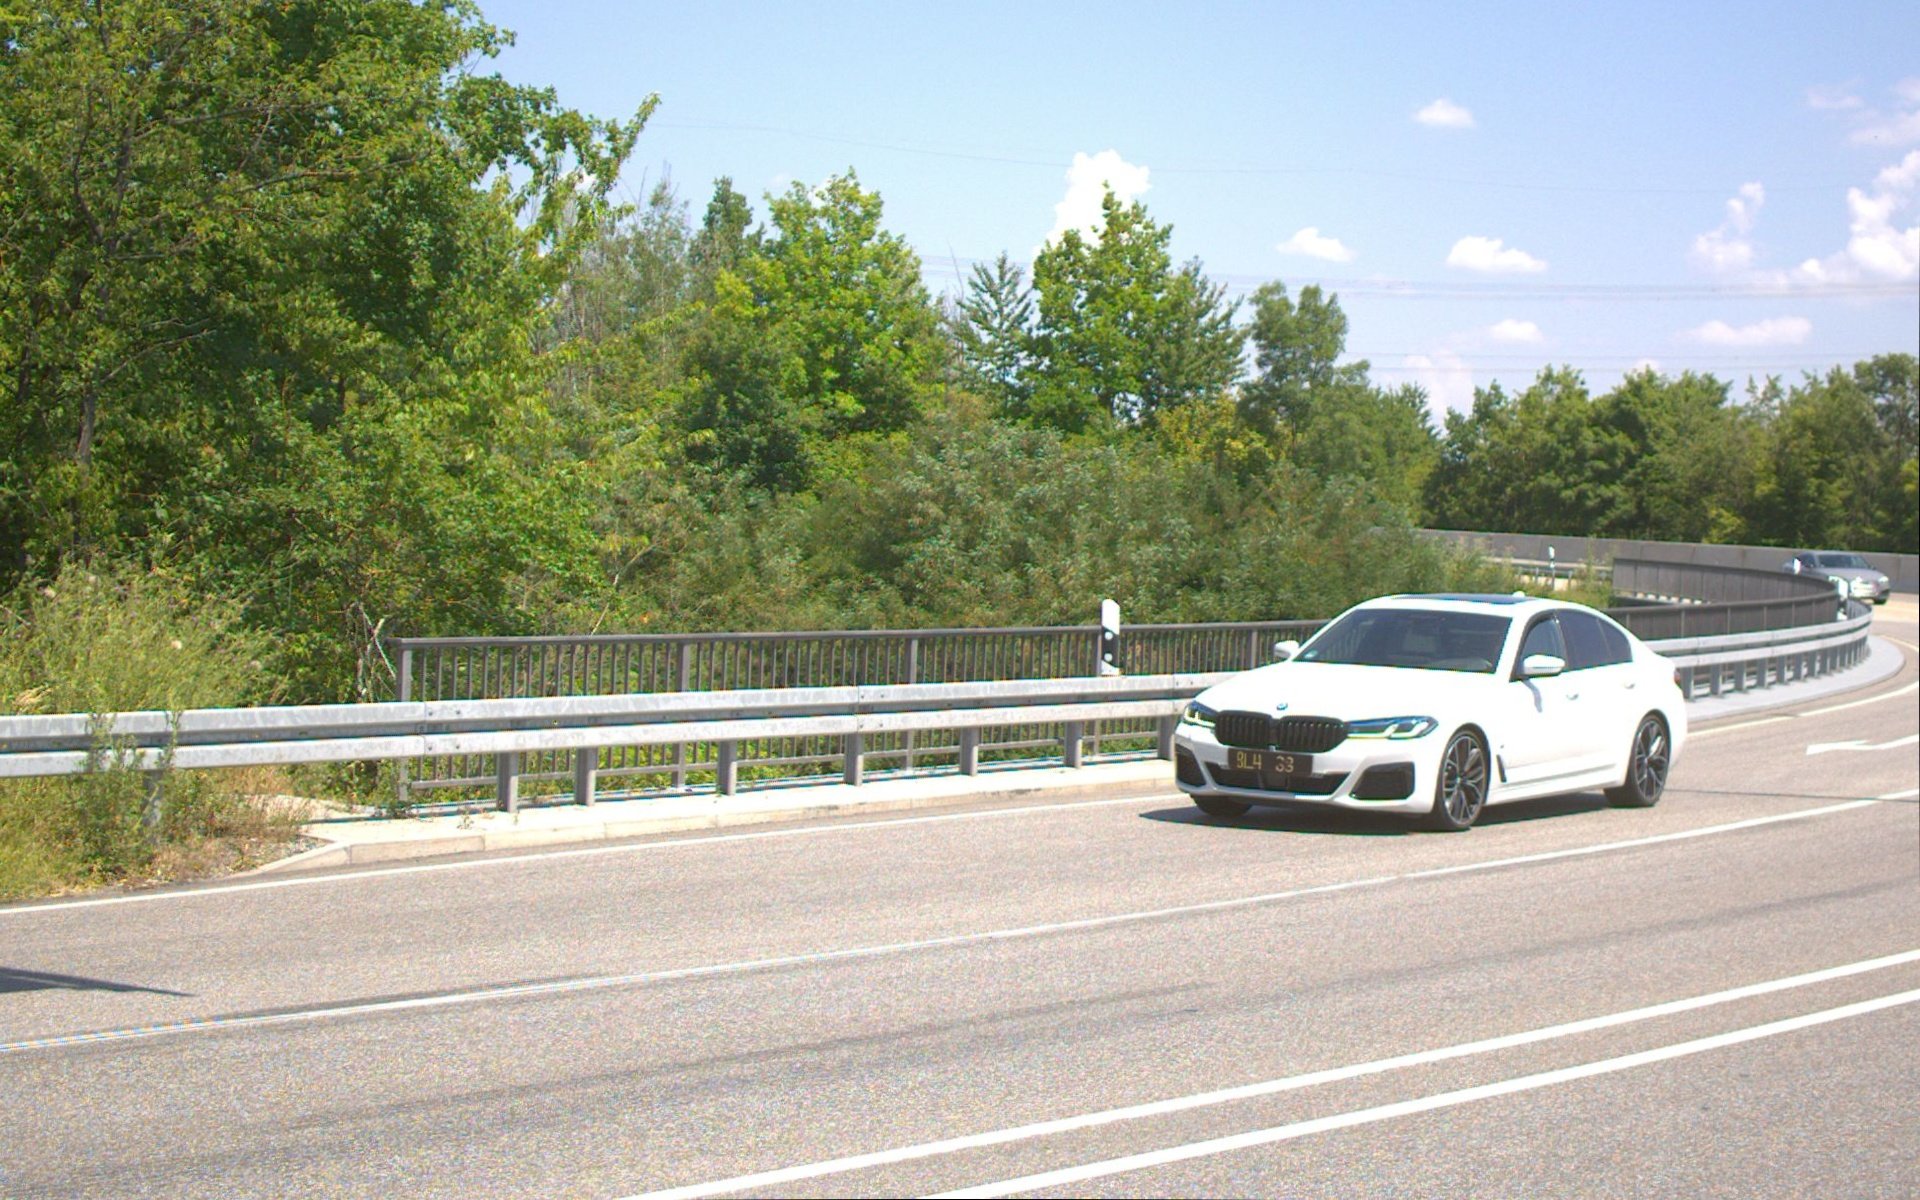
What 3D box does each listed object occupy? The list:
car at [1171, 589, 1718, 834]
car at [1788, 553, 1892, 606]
[{"bbox_3d":[3.412,0.684,23.355,1.841,1.479,4.828,-1,0,32],"label":"car"},{"bbox_3d":[23.990,-0.584,93.841,1.779,1.380,4.282,0,1,1],"label":"car"}]
